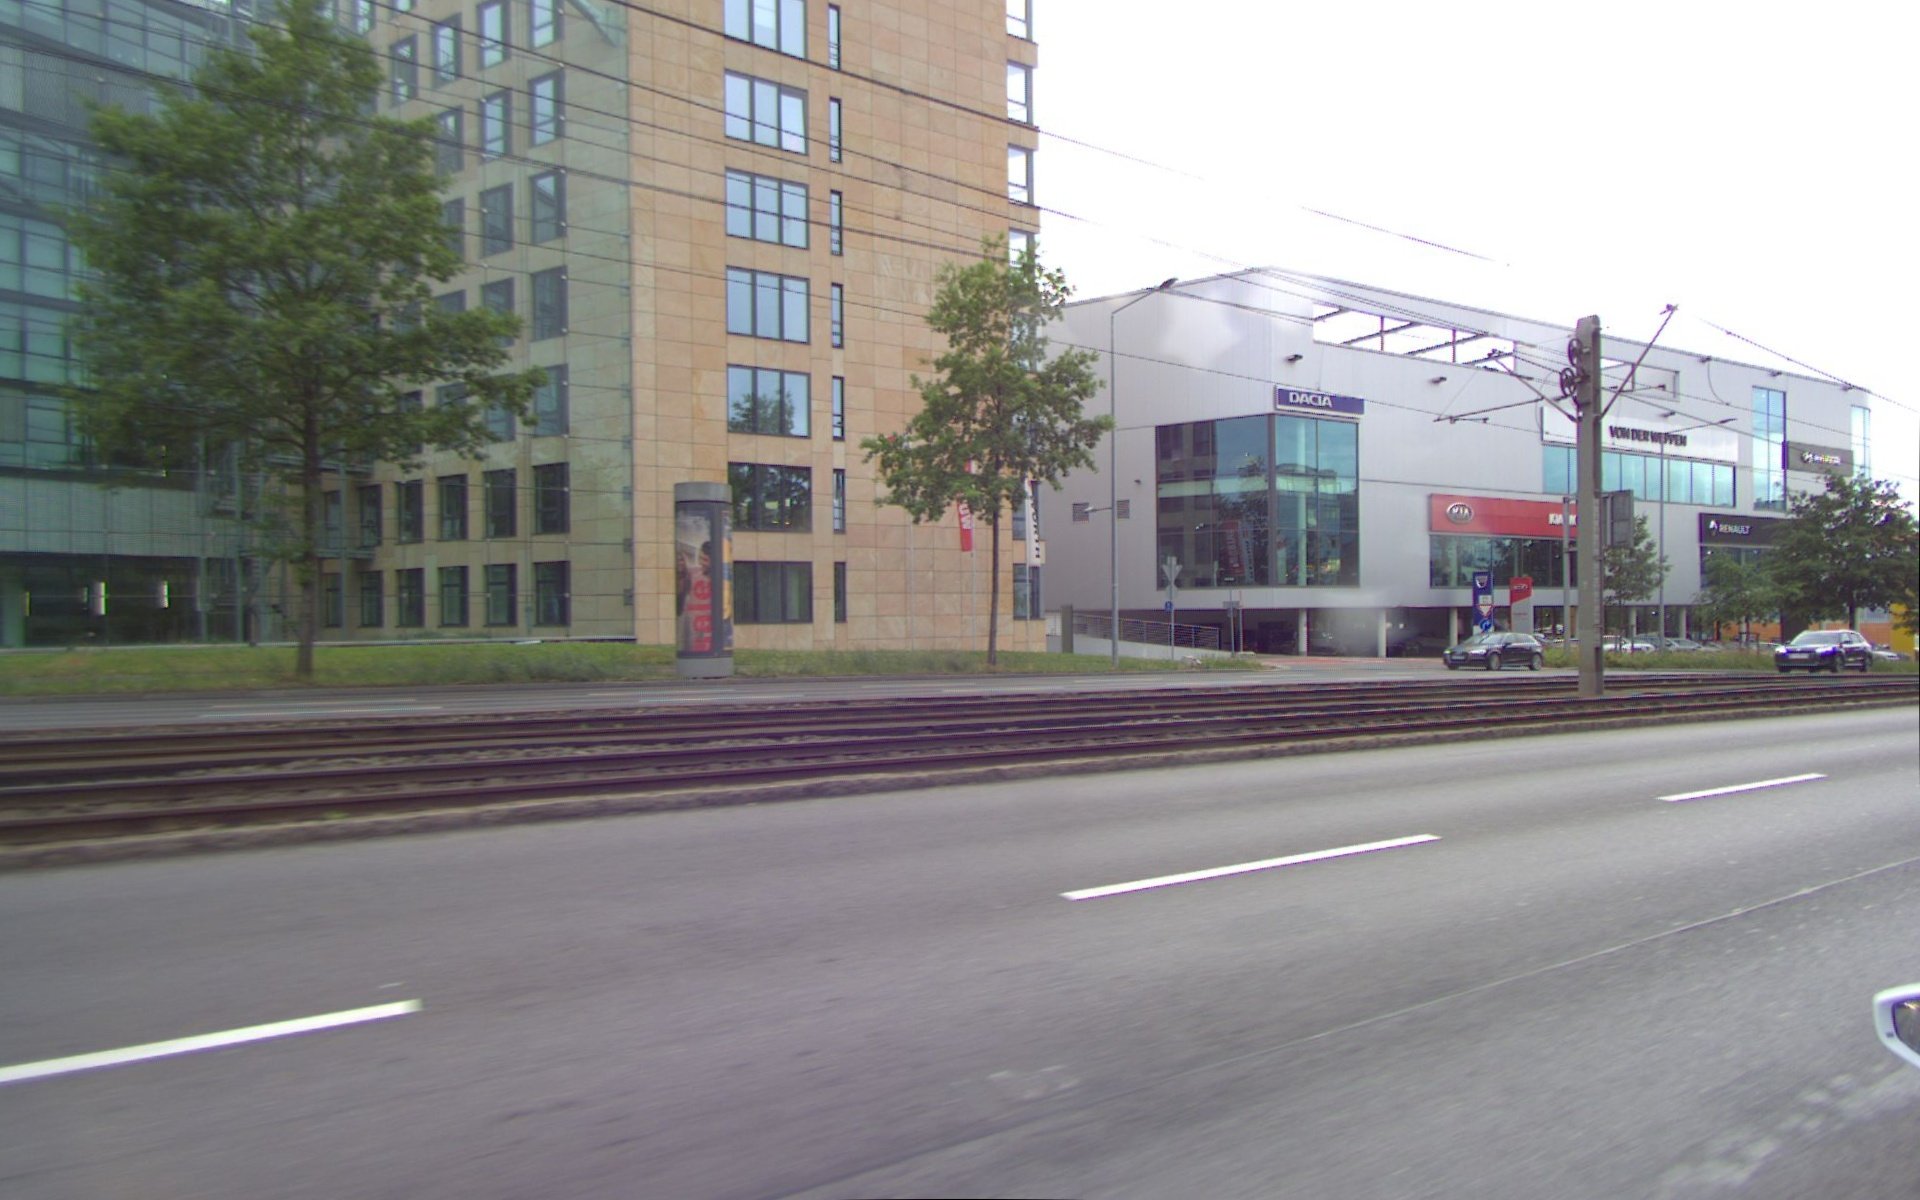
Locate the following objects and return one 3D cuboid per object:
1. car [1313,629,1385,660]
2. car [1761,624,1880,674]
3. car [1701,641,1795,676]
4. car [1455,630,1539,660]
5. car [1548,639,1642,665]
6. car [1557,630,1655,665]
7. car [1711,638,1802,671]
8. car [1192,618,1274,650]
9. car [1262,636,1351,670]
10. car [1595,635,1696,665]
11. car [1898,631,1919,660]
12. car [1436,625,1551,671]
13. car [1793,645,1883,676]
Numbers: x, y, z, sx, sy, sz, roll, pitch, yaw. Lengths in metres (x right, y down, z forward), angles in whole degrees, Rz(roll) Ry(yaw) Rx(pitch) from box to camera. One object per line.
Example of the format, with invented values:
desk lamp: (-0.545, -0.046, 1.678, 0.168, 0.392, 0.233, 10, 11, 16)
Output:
car: (26.236, 2.981, 67.682, 4.885, 1.936, 1.983, 2, 0, -32)
car: (31.813, 1.817, 37.122, 4.330, 1.637, 1.798, 3, -1, -27)
car: (50.843, 3.744, 64.854, 4.554, 2.002, 2.008, 1, -2, 45)
car: (33.547, 2.788, 62.842, 4.552, 1.686, 2.018, 1, -2, 28)
car: (36.452, 2.974, 57.708, 4.276, 1.324, 1.861, 1, -2, 44)
car: (38.394, 2.824, 59.736, 4.575, 1.851, 2.008, 1, -2, 45)
car: (54.318, 3.691, 68.580, 2.003, 2.002, 4.564, 3, -2, -39)
car: (16.758, 2.086, 61.554, 4.885, 1.815, 1.983, 2, 0, -32)
car: (19.632, 3.006, 56.848, 4.882, 1.748, 1.984, 2, 0, -30)
car: (42.850, 3.100, 62.848, 4.951, 1.675, 2.008, 0, -2, 45)
car: (80.444, 3.841, 82.126, 2.004, 2.343, 5.257, 3, -1, -40)
car: (19.622, 1.769, 36.931, 4.186, 1.481, 1.661, 3, -1, -28)
car: (63.763, 4.406, 73.029, 1.998, 2.002, 4.577, 3, -2, -31)
